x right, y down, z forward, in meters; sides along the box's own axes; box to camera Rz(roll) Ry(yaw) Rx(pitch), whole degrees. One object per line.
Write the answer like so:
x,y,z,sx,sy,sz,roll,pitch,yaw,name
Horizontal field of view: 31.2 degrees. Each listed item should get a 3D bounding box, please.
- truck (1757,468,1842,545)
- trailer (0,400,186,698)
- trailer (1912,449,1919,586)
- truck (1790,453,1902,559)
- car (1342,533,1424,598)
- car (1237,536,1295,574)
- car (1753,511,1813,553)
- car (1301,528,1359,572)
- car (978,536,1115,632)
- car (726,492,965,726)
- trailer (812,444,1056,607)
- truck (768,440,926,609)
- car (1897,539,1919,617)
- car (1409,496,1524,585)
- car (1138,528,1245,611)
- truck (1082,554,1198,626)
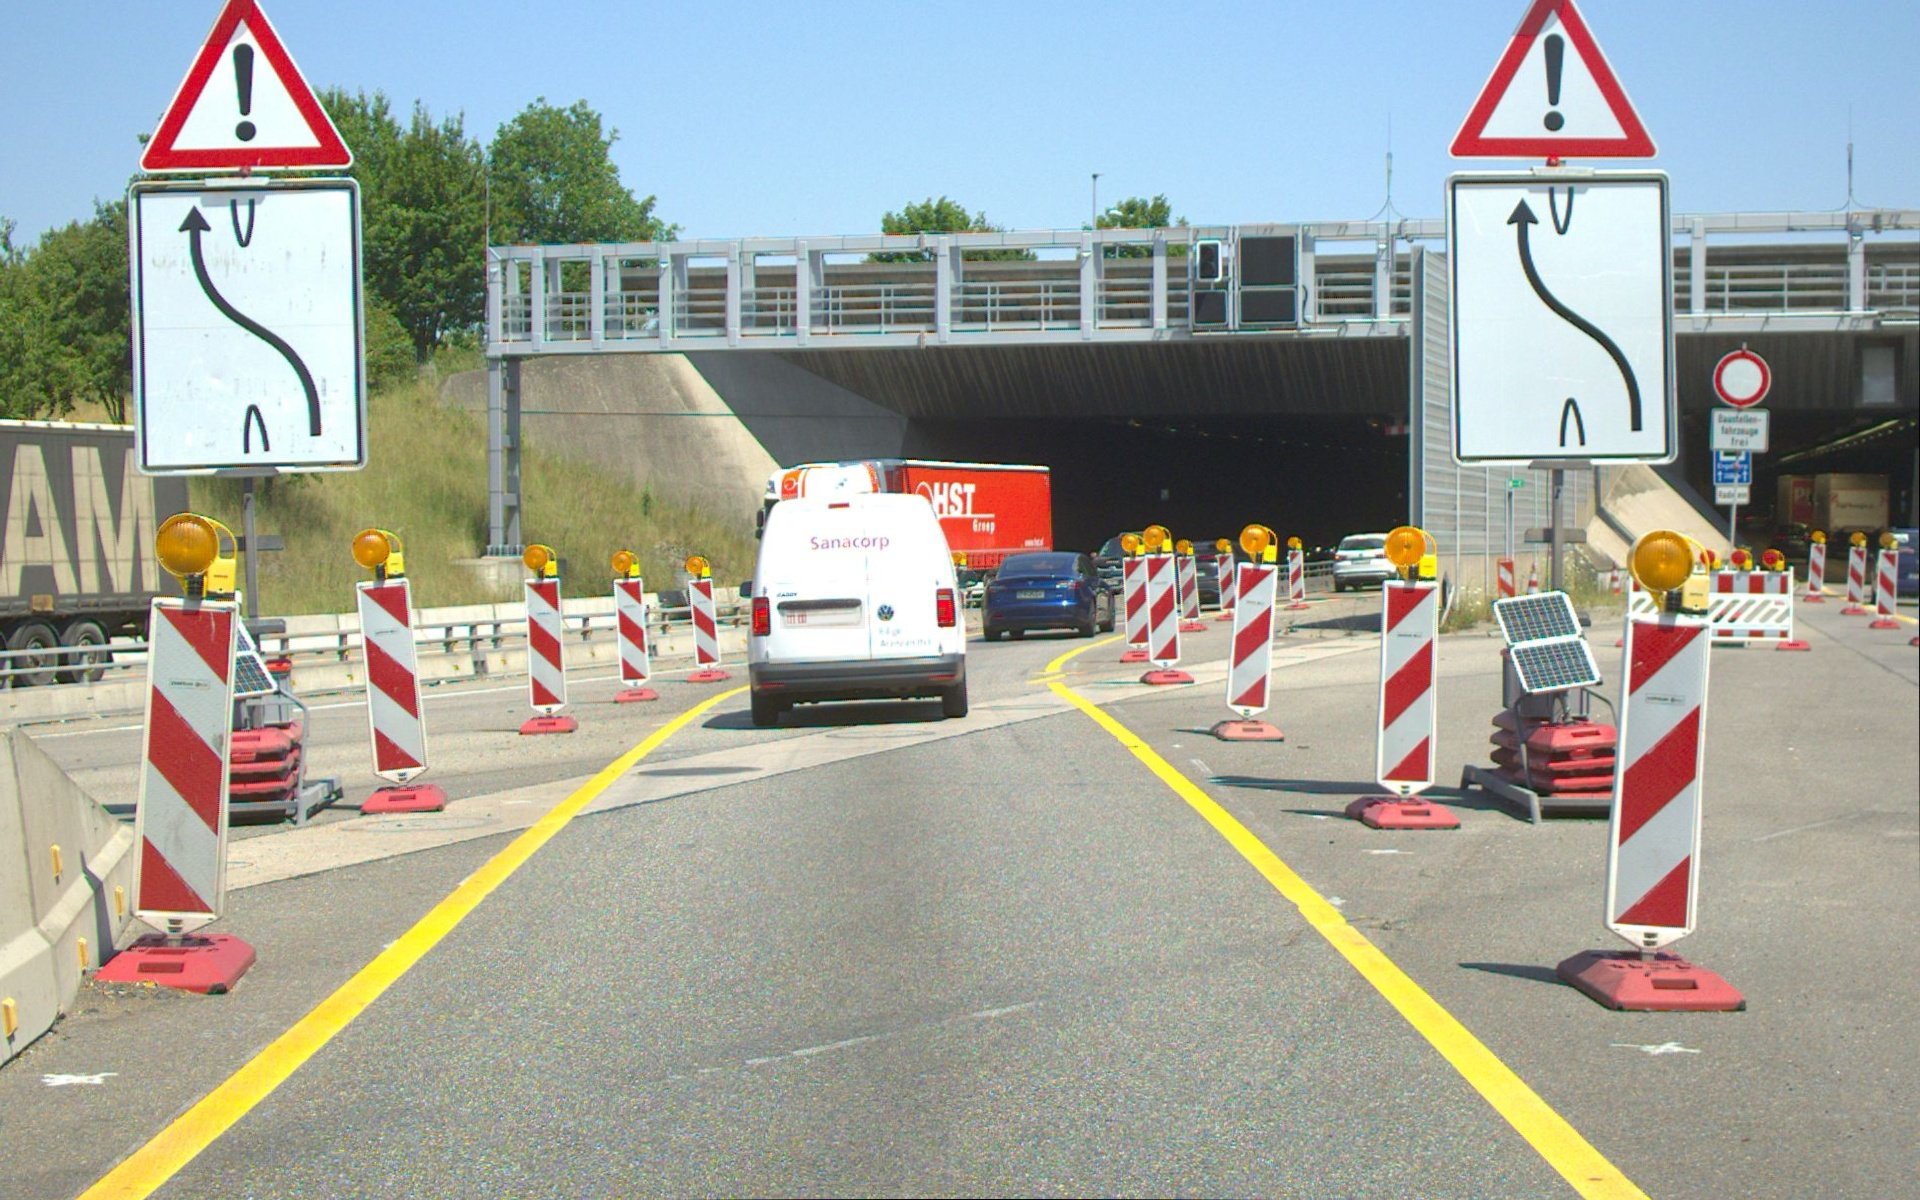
48.476,-5.320,199.020,3.403,4.057,16.530,2,1,9,truck
-15.537,-0.706,48.040,2.438,4.282,13.797,0,1,18,trailer
28.873,-2.374,96.270,2.733,4.048,14.089,2,1,10,trailer
40.970,-4.225,159.494,3.403,4.320,16.529,2,0,9,truck
11.894,-0.976,96.518,1.809,1.745,4.407,-1,1,13,car
12.308,-1.796,138.061,1.688,1.390,3.997,-3,0,14,car
33.344,-2.751,139.313,1.815,1.624,4.189,2,1,6,car
16.164,-2.163,149.886,1.688,1.828,4.784,-3,0,16,car
1.498,-0.285,57.779,1.809,1.532,4.408,-1,1,8,car
-0.884,0.047,28.434,1.808,1.788,3.731,-1,1,0,car
-0.506,-1.974,93.366,2.340,4.088,13.249,-1,1,19,trailer
-2.795,-1.877,86.605,2.336,4.094,5.013,-1,0,18,truck
21.342,-0.445,74.520,1.816,1.637,4.649,2,1,14,car
16.712,-1.921,113.109,2.816,2.764,7.096,1,0,16,car
5.274,-0.691,77.798,1.809,1.809,4.407,-1,1,12,car
5.119,-0.298,97.142,1.995,1.867,4.757,-1,2,19,truck
